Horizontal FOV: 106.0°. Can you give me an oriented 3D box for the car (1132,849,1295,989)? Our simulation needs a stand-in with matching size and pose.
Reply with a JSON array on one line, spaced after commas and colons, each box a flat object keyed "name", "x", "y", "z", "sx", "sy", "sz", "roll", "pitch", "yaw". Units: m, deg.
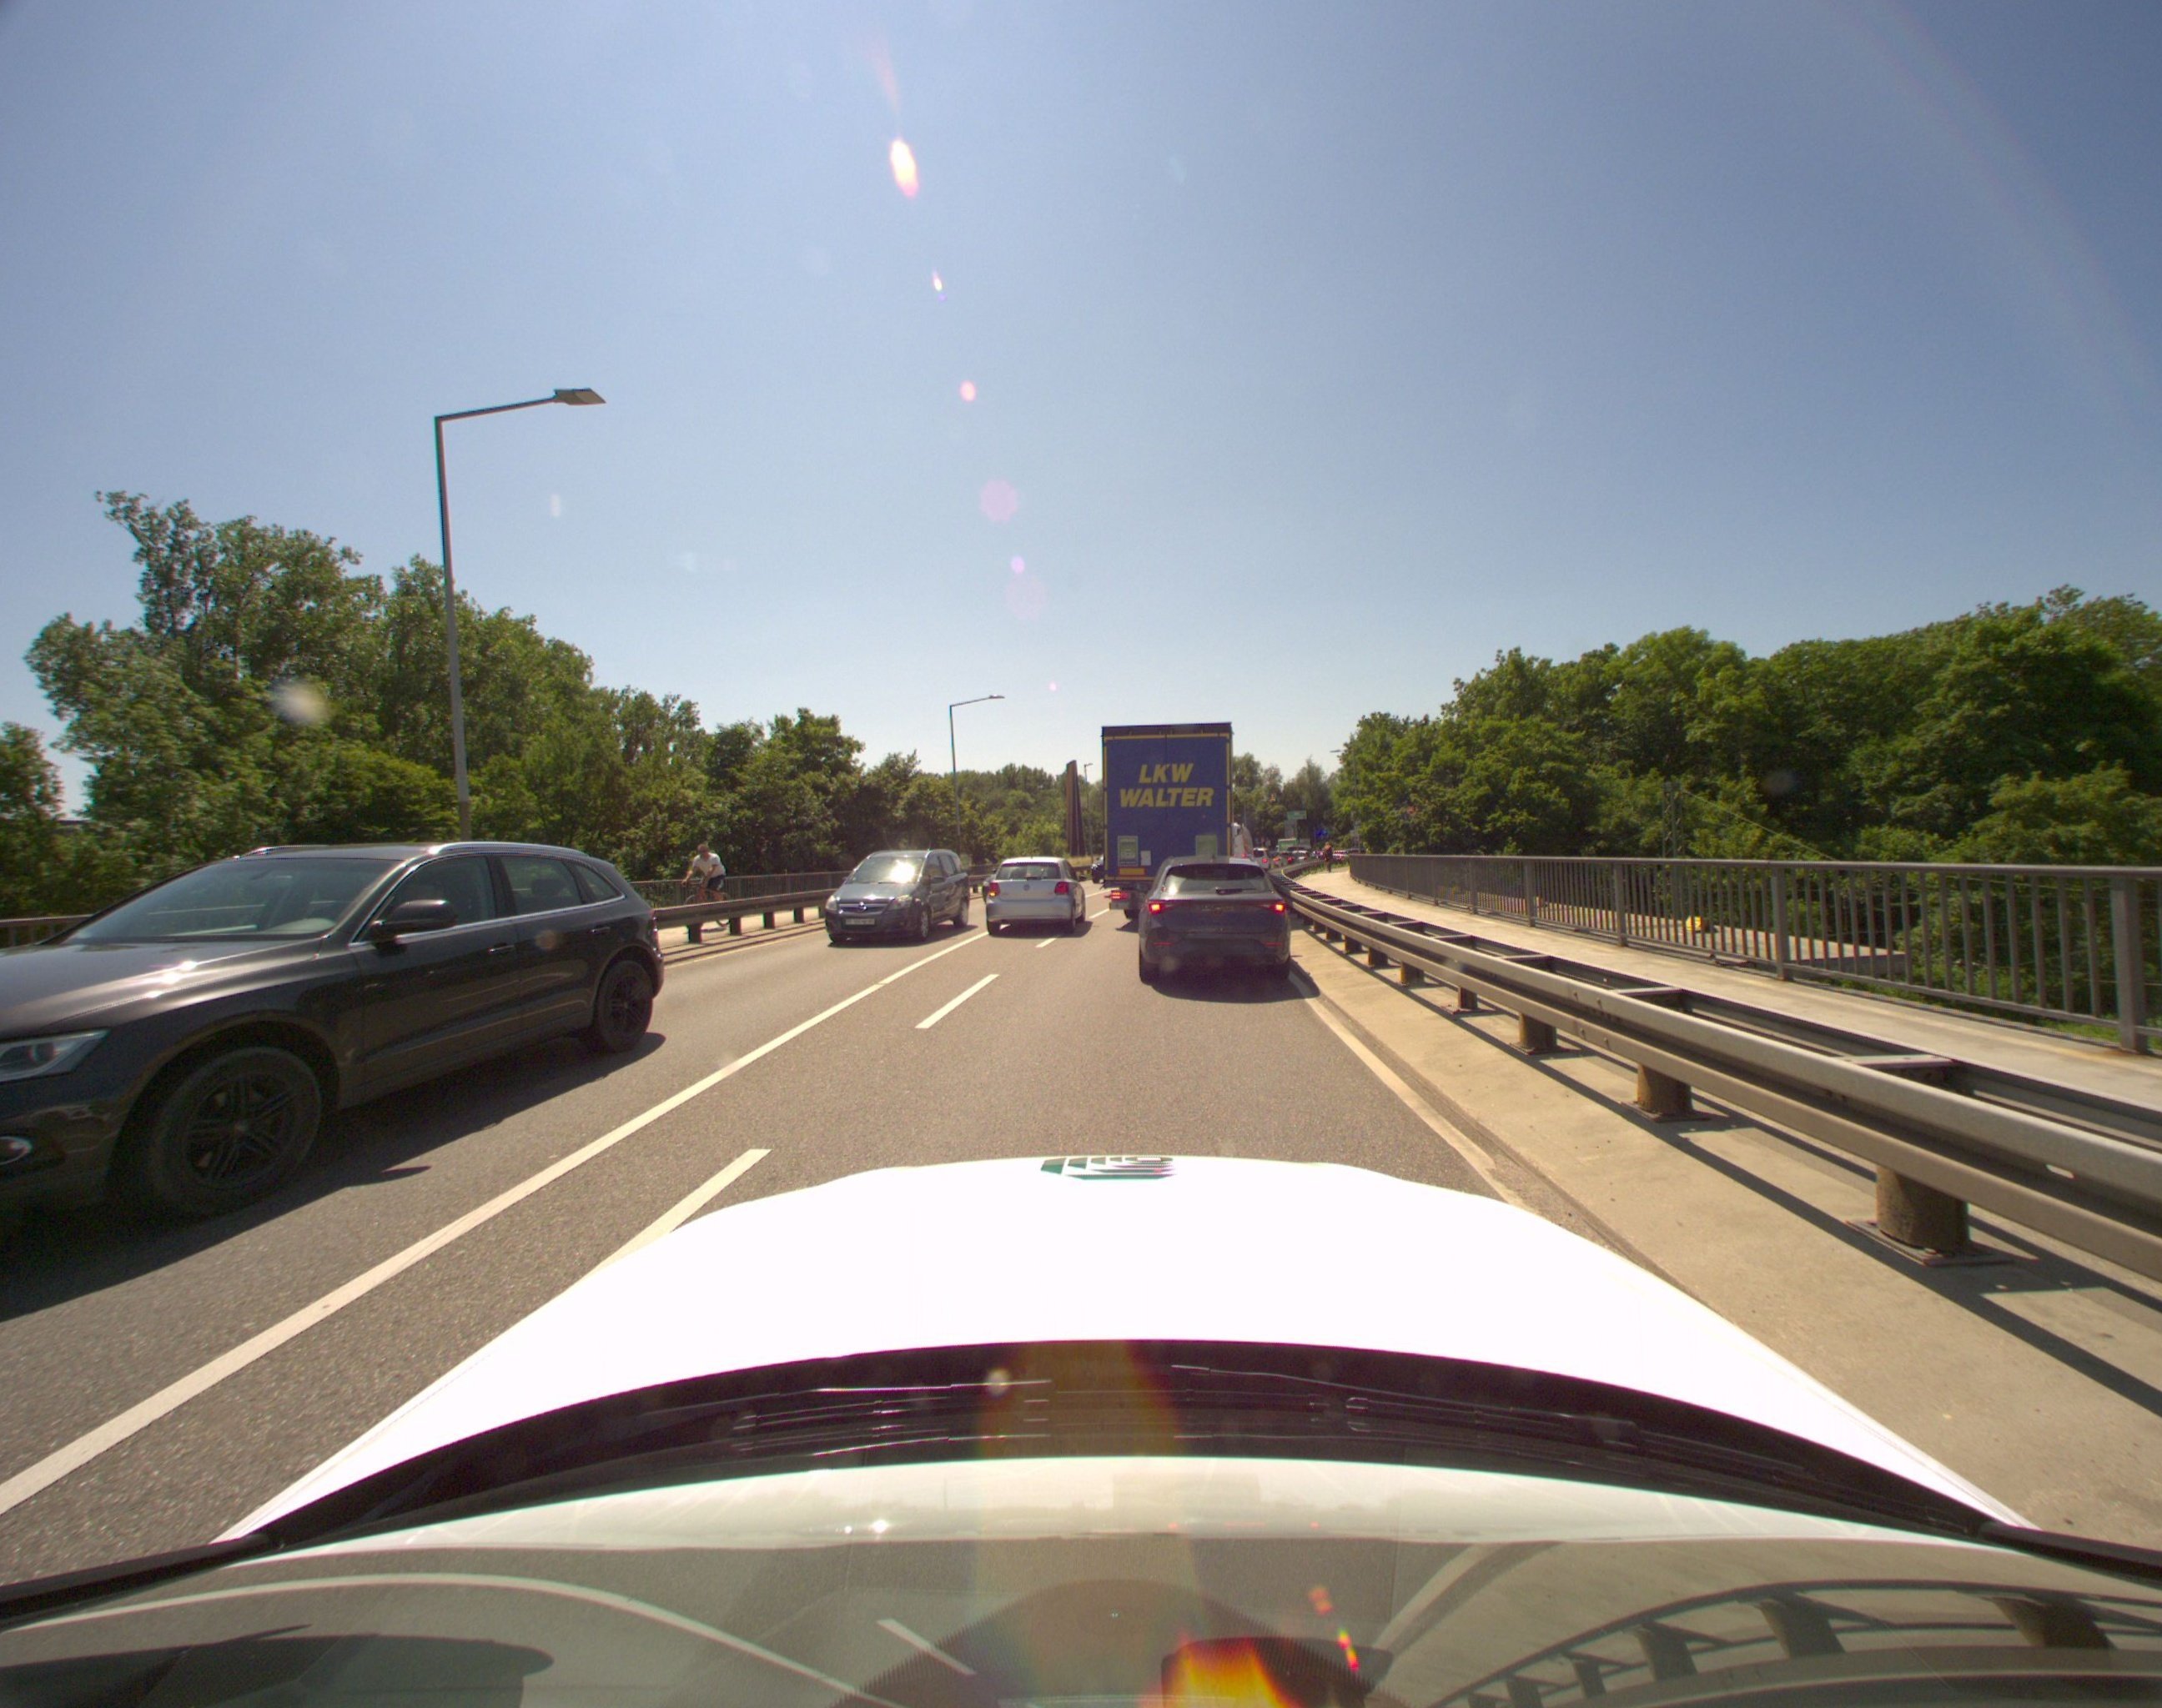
[{"name": "car", "x": 1.599, "y": 0.682, "z": 10.539, "sx": 1.668, "sy": 1.456, "sz": 3.965, "roll": -1, "pitch": 0, "yaw": 6}]

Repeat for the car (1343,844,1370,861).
[{"name": "car", "x": 28.222, "y": -0.153, "z": 83.424, "sx": 1.669, "sy": 1.760, "sz": 4.025, "roll": -1, "pitch": -1, "yaw": 32}]

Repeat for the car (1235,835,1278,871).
[{"name": "car", "x": 9.775, "y": -0.082, "z": 45.158, "sx": 1.706, "sy": 1.844, "sz": 4.021, "roll": -1, "pitch": 1, "yaw": 21}]

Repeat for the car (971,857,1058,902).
[{"name": "car", "x": -2.107, "y": 0.802, "z": 26.816, "sx": 1.666, "sy": 1.308, "sz": 3.987, "roll": -1, "pitch": 0, "yaw": 13}]

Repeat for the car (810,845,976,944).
[{"name": "car", "x": -3.399, "y": 0.662, "z": 15.622, "sx": 1.697, "sy": 1.626, "sz": 4.261, "roll": -1, "pitch": 0, "yaw": 7}]

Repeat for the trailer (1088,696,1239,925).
[{"name": "trailer", "x": 2.695, "y": -0.870, "z": 22.096, "sx": 2.886, "sy": 4.418, "sz": 12.468, "roll": -1, "pitch": 0, "yaw": 10}]

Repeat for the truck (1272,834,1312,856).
[{"name": "truck", "x": 27.971, "y": -1.148, "z": 108.149, "sx": 2.341, "sy": 2.873, "sz": 5.904, "roll": -1, "pitch": 0, "yaw": -18}]

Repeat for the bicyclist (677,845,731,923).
[{"name": "bicyclist", "x": -7.597, "y": 0.595, "z": 16.426, "sx": 0.580, "sy": 1.521, "sz": 0.897, "roll": -1, "pitch": 0, "yaw": 6}]

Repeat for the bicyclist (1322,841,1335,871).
[{"name": "bicyclist", "x": 14.463, "y": 0.117, "z": 47.572, "sx": 0.574, "sy": 1.683, "sz": 0.732, "roll": -4, "pitch": -1, "yaw": 13}]

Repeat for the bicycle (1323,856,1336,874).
[{"name": "bicycle", "x": 14.494, "y": 0.636, "z": 47.586, "sx": 0.578, "sy": 1.035, "sz": 1.490, "roll": -4, "pitch": -1, "yaw": 13}]

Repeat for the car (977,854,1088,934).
[{"name": "car", "x": -0.860, "y": 0.728, "z": 16.725, "sx": 1.669, "sy": 1.411, "sz": 3.981, "roll": -1, "pitch": 0, "yaw": 5}]

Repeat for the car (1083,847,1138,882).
[{"name": "car", "x": 1.583, "y": 0.524, "z": 42.413, "sx": 1.952, "sy": 1.673, "sz": 4.630, "roll": -2, "pitch": 0, "yaw": 13}]

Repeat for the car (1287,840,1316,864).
[{"name": "car", "x": 17.698, "y": -0.176, "z": 65.322, "sx": 1.705, "sy": 1.844, "sz": 4.022, "roll": -1, "pitch": 0, "yaw": 23}]

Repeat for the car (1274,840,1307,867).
[{"name": "car", "x": 15.243, "y": -0.077, "z": 59.091, "sx": 1.705, "sy": 1.844, "sz": 4.022, "roll": -1, "pitch": 0, "yaw": 23}]

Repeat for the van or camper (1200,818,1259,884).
[{"name": "van or camper", "x": 7.019, "y": -0.139, "z": 38.011, "sx": 2.138, "sy": 2.815, "sz": 6.413, "roll": -1, "pitch": 0, "yaw": 15}]

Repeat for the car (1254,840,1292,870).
[{"name": "car", "x": 12.185, "y": 0.020, "z": 51.535, "sx": 1.706, "sy": 1.802, "sz": 4.021, "roll": -1, "pitch": 0, "yaw": 22}]

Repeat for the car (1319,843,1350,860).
[{"name": "car", "x": 24.316, "y": -0.217, "z": 77.937, "sx": 1.974, "sy": 1.575, "sz": 4.024, "roll": 1, "pitch": -1, "yaw": 30}]

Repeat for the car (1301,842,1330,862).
[{"name": "car", "x": 20.680, "y": -0.172, "z": 71.789, "sx": 1.669, "sy": 1.760, "sz": 4.024, "roll": -1, "pitch": -1, "yaw": 27}]

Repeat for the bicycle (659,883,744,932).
[{"name": "bicycle", "x": -7.582, "y": 1.053, "z": 16.378, "sx": 0.585, "sy": 0.833, "sz": 1.995, "roll": -1, "pitch": 0, "yaw": 6}]

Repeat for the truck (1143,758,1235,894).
[{"name": "truck", "x": 4.144, "y": -0.915, "z": 29.961, "sx": 2.886, "sy": 4.418, "sz": 6.576, "roll": -1, "pitch": 0, "yaw": 11}]

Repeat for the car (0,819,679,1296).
[{"name": "car", "x": -4.508, "y": 0.714, "z": 4.923, "sx": 1.793, "sy": 1.641, "sz": 4.304, "roll": -1, "pitch": 0, "yaw": 3}]
